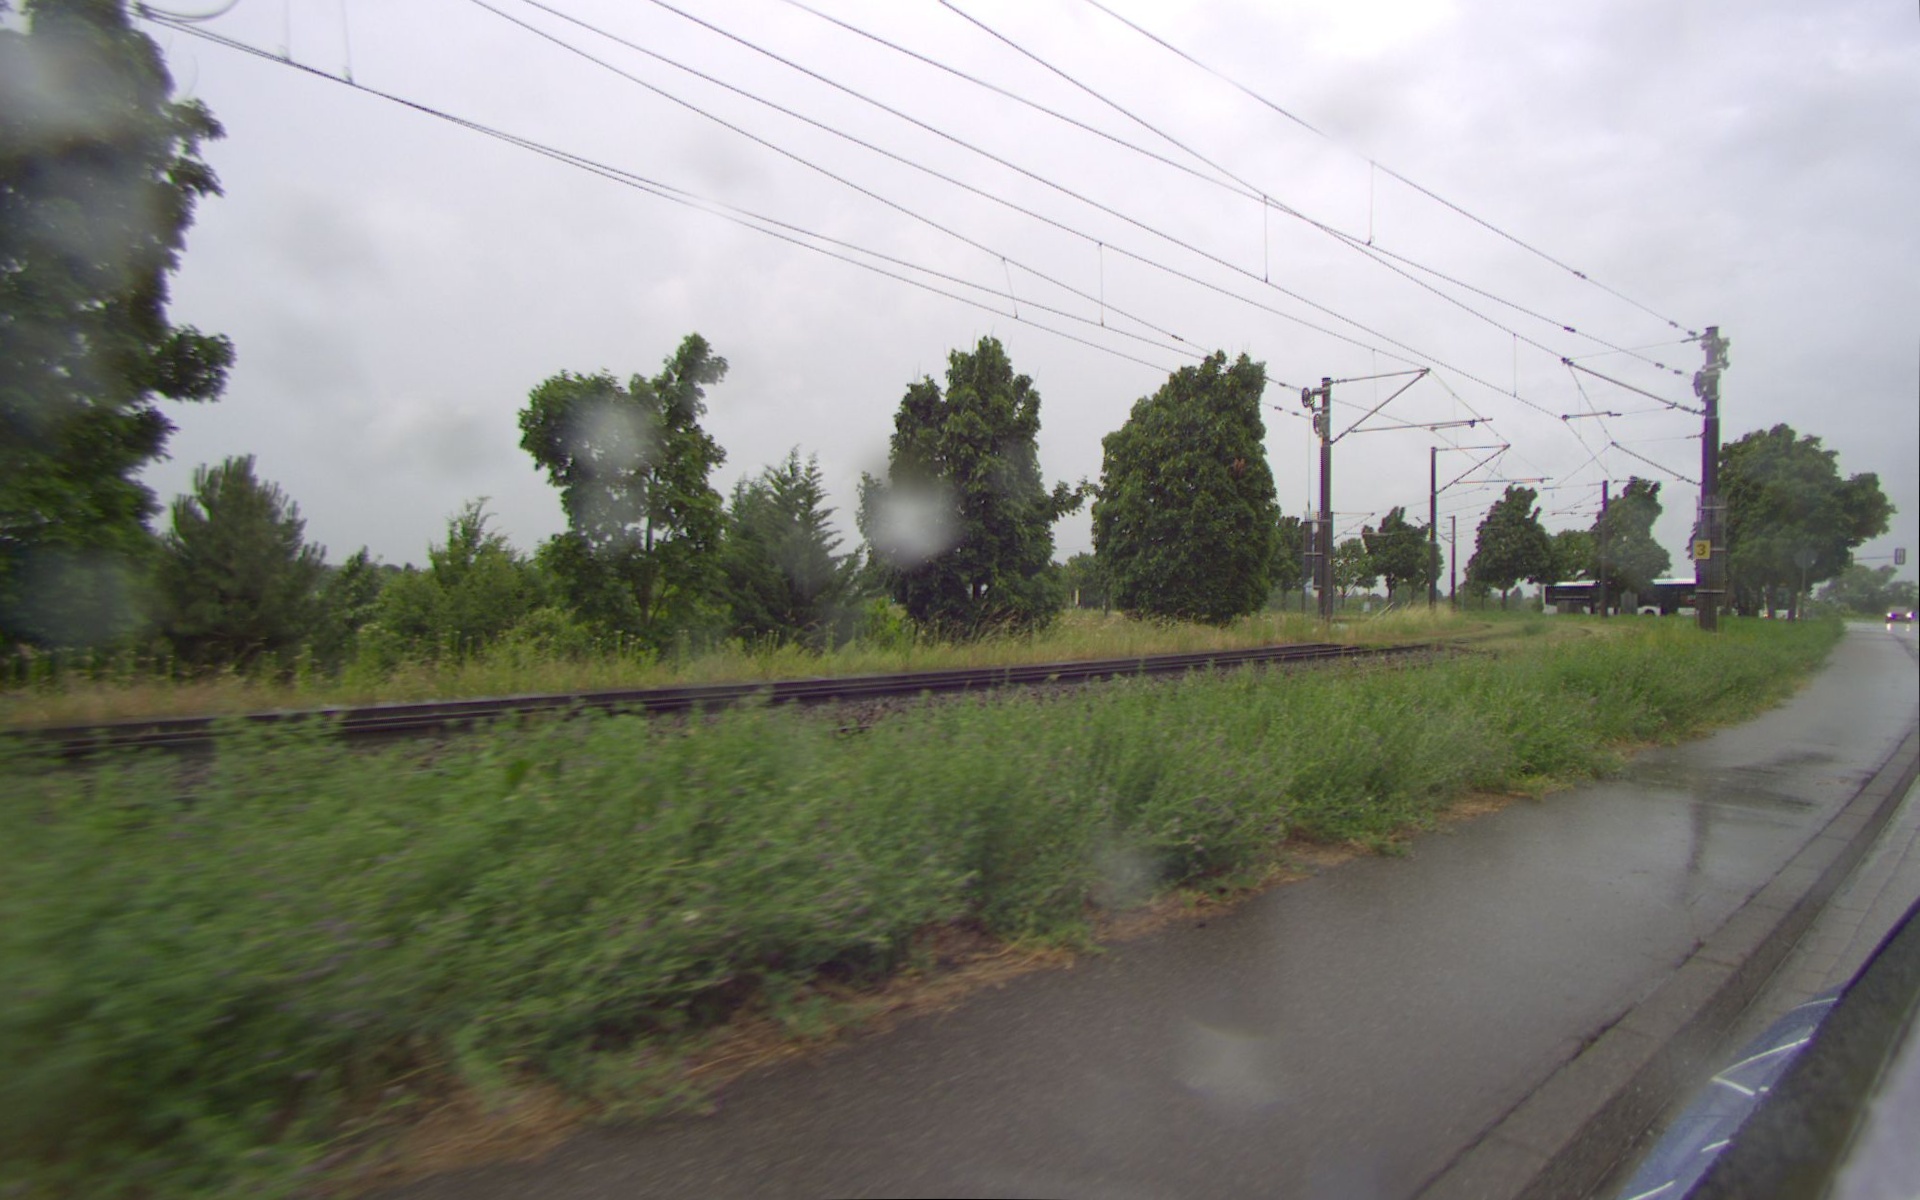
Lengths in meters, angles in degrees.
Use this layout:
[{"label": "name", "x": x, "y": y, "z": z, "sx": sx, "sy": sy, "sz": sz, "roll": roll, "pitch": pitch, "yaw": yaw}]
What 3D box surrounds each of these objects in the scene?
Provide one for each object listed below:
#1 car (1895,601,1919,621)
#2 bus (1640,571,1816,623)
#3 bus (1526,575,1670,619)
[{"label": "car", "x": 96.016, "y": 1.097, "z": 102.400, "sx": 1.916, "sy": 2.039, "sz": 3.936, "roll": 0, "pitch": 0, "yaw": 44}, {"label": "bus", "x": 50.065, "y": -0.199, "z": 66.508, "sx": 2.623, "sy": 3.116, "sz": 10.011, "roll": 0, "pitch": 0, "yaw": -10}, {"label": "bus", "x": 47.828, "y": -0.206, "z": 76.399, "sx": 2.622, "sy": 3.116, "sz": 10.014, "roll": 0, "pitch": 0, "yaw": -15}]
